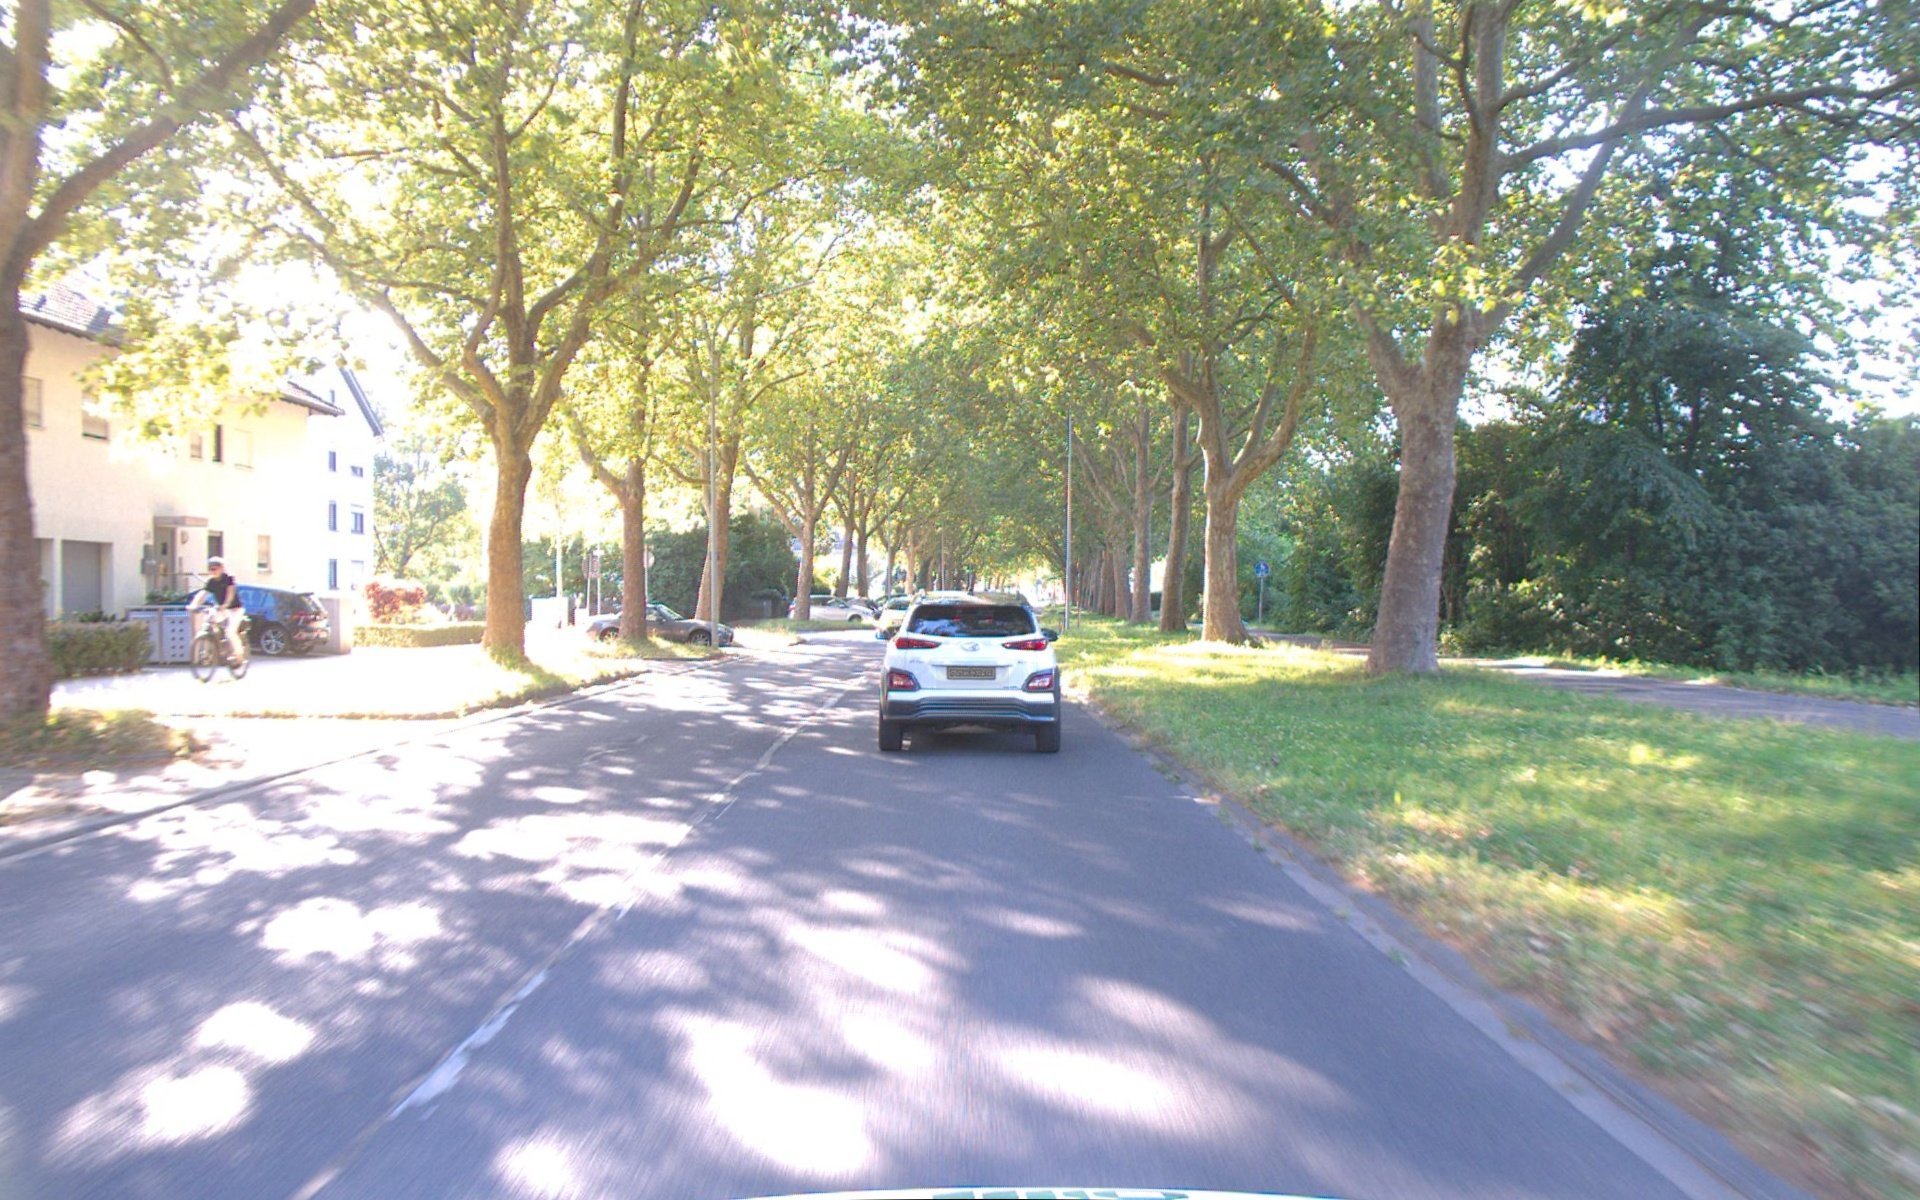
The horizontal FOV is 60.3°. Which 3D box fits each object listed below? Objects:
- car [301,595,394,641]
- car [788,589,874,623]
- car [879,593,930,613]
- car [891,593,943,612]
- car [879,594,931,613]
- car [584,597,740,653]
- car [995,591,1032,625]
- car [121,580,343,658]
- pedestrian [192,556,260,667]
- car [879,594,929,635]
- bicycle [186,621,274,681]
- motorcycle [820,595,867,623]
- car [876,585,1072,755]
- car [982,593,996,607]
[{"bbox_3d":[-22.264,0.647,60.283,1.953,1.602,3.999,0,0,-1],"label":"car"},{"bbox_3d":[-6.294,0.288,81.249,4.099,1.612,1.999,0,0,-2],"label":"car"},{"bbox_3d":[-4.322,0.197,128.861,3.904,1.546,1.810,0,0,2],"label":"car"},{"bbox_3d":[-3.413,0.213,131.242,3.903,1.496,1.810,0,0,4],"label":"car"},{"bbox_3d":[-4.186,0.254,125.670,3.906,1.449,1.809,0,0,-1],"label":"car"},{"bbox_3d":[-7.856,0.647,43.836,3.747,1.339,1.790,2,0,0],"label":"car"},{"bbox_3d":[2.734,0.394,84.871,1.642,1.725,3.744,0,0,-2],"label":"car"},{"bbox_3d":[-15.774,0.411,35.982,3.905,1.489,1.901,2,0,0],"label":"car"},{"bbox_3d":[-11.713,0.179,26.424,0.604,1.746,1.065,0,0,0],"label":"pedestrian"},{"bbox_3d":[-2.194,0.560,65.447,1.747,1.539,3.839,1,0,1],"label":"car"},{"bbox_3d":[-11.667,0.804,26.500,0.460,0.896,2.155,0,0,0],"label":"bicycle"},{"bbox_3d":[-5.902,0.453,83.664,2.337,1.412,0.648,1,1,-3],"label":"motorcycle"},{"bbox_3d":[0.038,0.648,17.462,1.799,1.583,3.997,0,0,-4],"label":"car"},{"bbox_3d":[3.098,-0.040,175.691,1.504,1.484,3.185,0,0,1],"label":"car"}]
